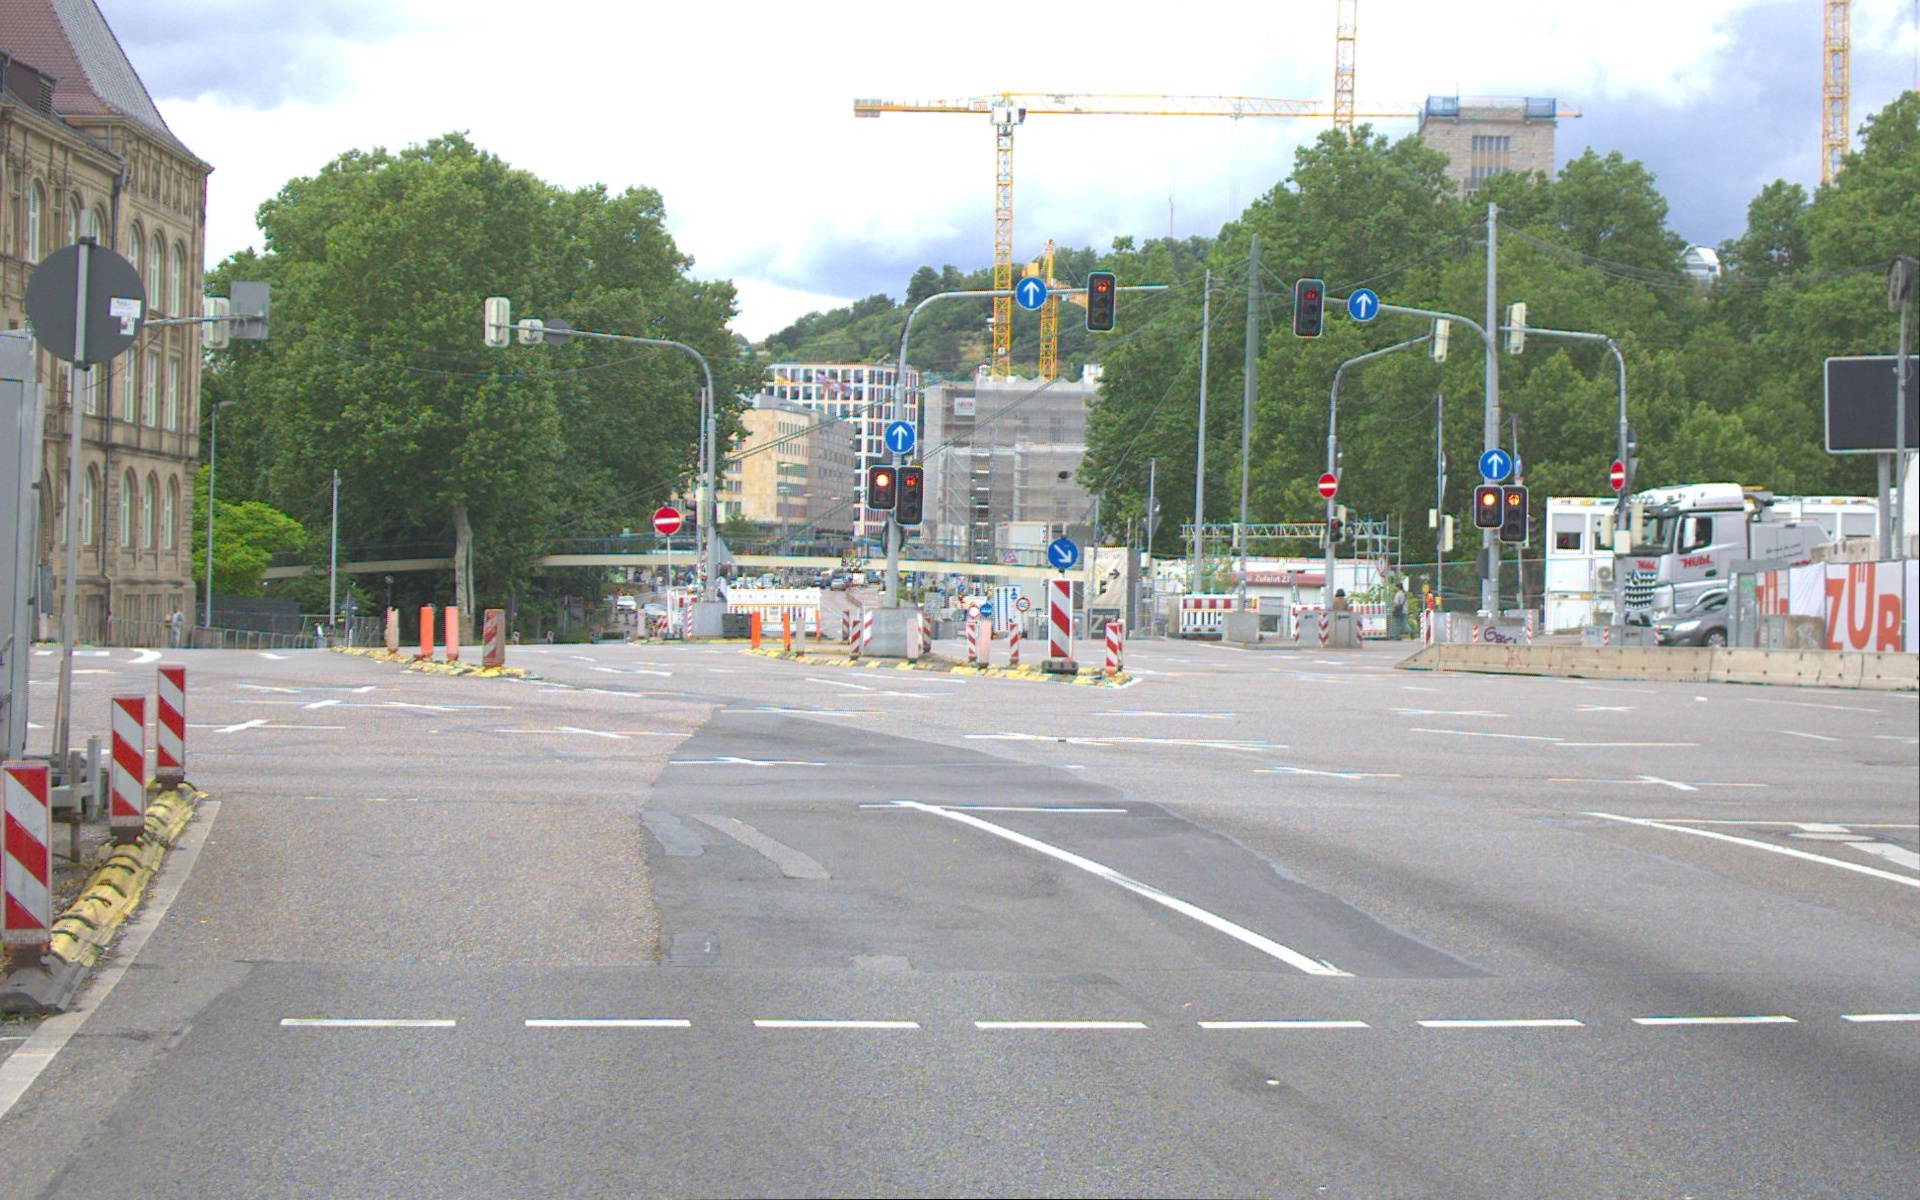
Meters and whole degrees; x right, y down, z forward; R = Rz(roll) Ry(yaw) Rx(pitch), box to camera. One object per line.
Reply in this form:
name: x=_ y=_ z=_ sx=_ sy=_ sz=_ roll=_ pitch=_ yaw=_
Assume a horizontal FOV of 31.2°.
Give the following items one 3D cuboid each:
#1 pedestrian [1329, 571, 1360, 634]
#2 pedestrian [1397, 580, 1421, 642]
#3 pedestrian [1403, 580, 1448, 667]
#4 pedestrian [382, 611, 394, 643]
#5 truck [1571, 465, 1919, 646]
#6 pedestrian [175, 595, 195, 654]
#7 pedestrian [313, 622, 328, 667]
pedestrian: x=10.565 y=0.065 z=94.386 sx=0.729 sy=1.683 sz=0.678 roll=1 pitch=1 yaw=-1
pedestrian: x=12.315 y=0.291 z=94.281 sx=0.566 sy=1.683 sz=0.472 roll=1 pitch=1 yaw=-1
pedestrian: x=9.133 y=0.460 z=67.469 sx=0.729 sy=1.683 sz=0.678 roll=1 pitch=1 yaw=-1
pedestrian: x=-29.208 y=1.375 z=175.579 sx=0.536 sy=1.587 sz=0.516 roll=1 pitch=1 yaw=-4
truck: x=21.359 y=-0.993 z=82.000 sx=13.022 sy=4.027 sz=3.952 roll=1 pitch=1 yaw=-20
pedestrian: x=-26.519 y=0.830 z=117.631 sx=0.524 sy=2.007 sz=0.567 roll=1 pitch=1 yaw=0
pedestrian: x=-28.662 y=2.005 z=154.029 sx=0.524 sy=2.007 sz=0.567 roll=1 pitch=1 yaw=0
